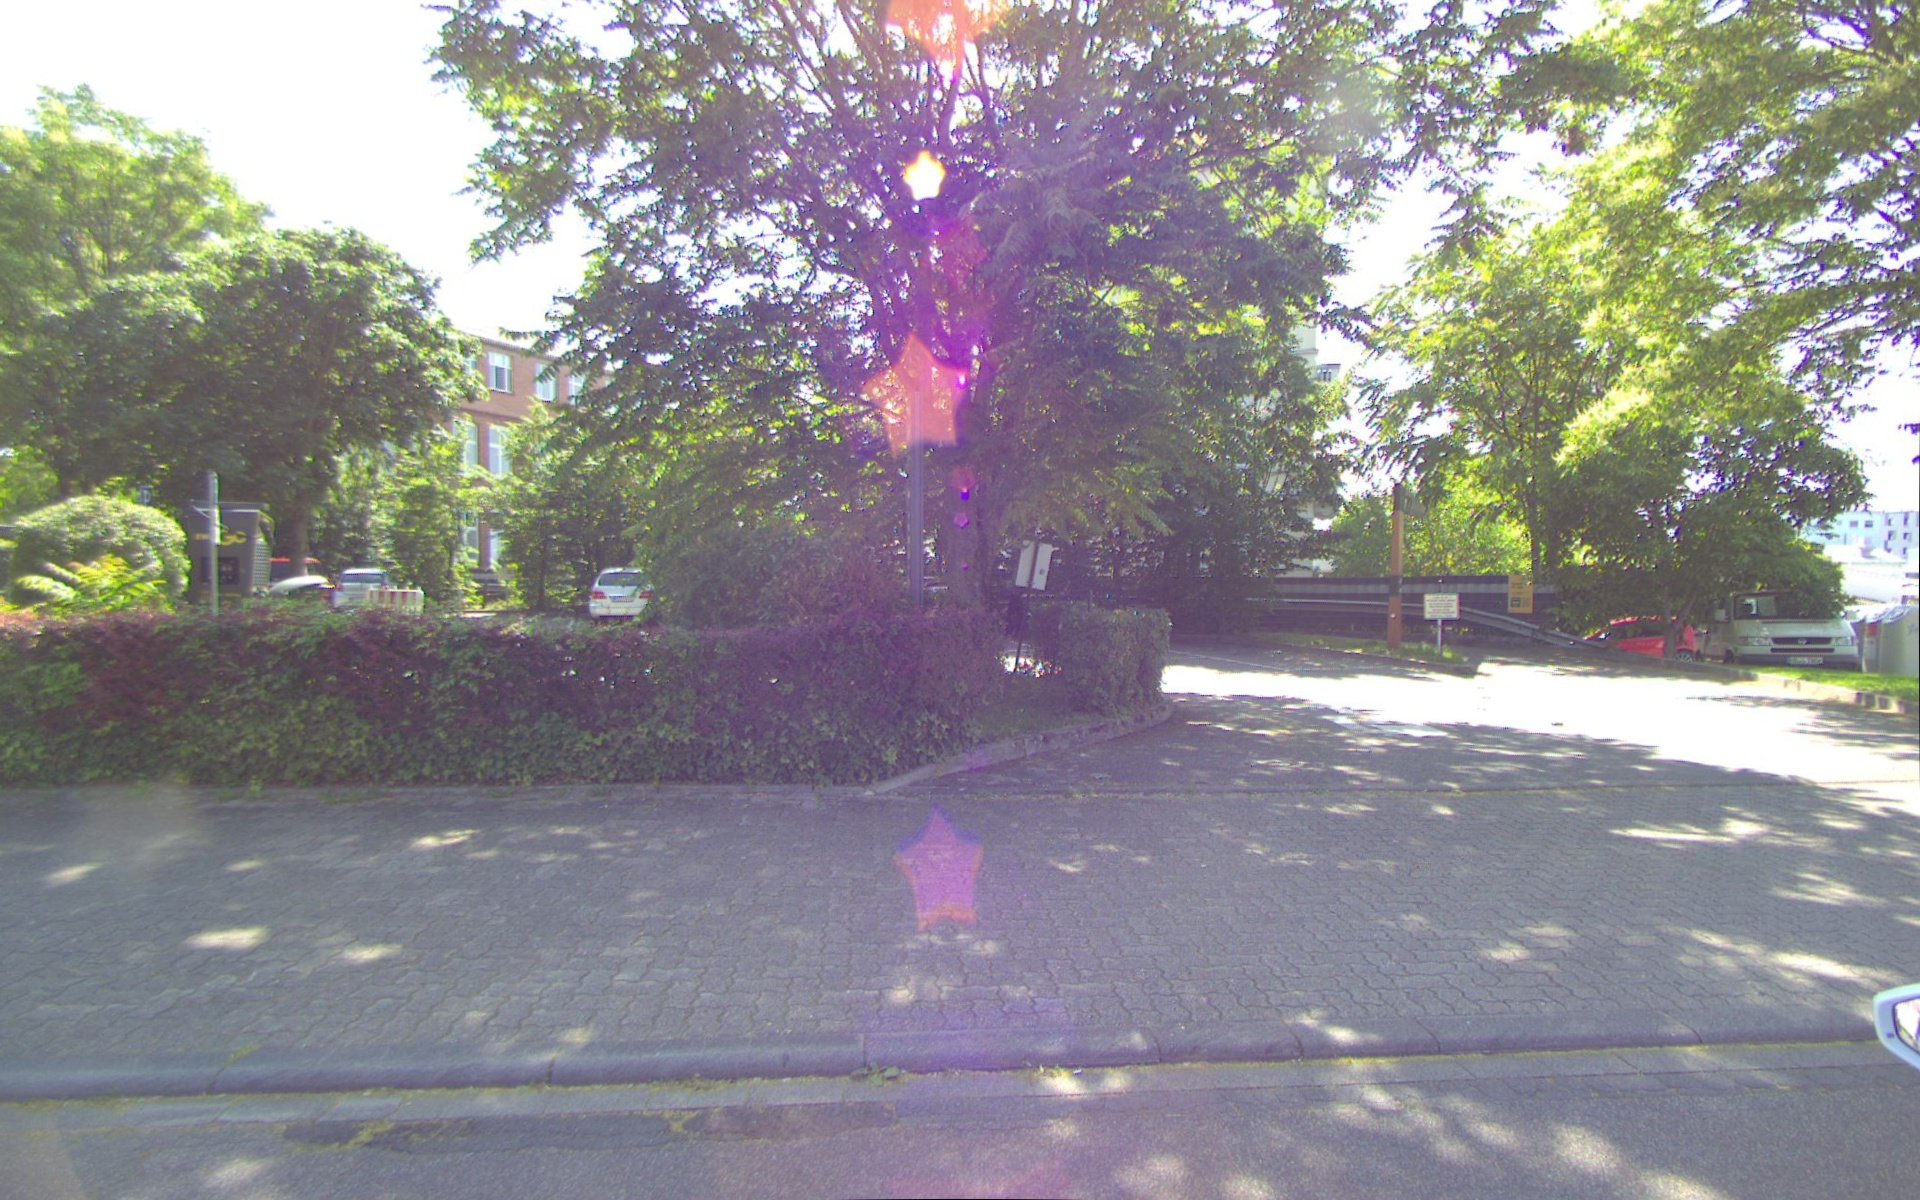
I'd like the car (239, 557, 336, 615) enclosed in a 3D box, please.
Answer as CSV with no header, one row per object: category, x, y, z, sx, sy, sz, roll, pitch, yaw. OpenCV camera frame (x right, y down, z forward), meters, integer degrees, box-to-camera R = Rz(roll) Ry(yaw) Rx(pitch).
car,-22.314,-0.526,33.488,1.747,1.758,3.980,-2,3,-21

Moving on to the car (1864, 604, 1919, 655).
car,35.496,1.103,36.099,3.920,1.729,2.000,2,2,19

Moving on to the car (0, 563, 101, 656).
car,-17.273,0.139,16.634,4.285,1.472,1.860,1,-1,-7

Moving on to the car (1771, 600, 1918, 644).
car,40.075,0.963,45.621,4.560,1.749,2.001,2,1,12

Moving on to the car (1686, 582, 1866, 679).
car,16.079,0.478,20.098,1.923,1.604,5.021,2,2,30

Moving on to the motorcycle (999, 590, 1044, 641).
motorcycle,1.469,0.351,24.128,0.467,1.156,1.597,-1,2,-21

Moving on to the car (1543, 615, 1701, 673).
car,17.984,1.172,27.446,3.348,1.397,1.486,0,3,21

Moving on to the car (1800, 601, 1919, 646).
car,39.462,1.000,43.272,4.560,1.749,2.001,2,1,12

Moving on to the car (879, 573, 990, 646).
car,-0.698,0.148,23.801,1.634,1.490,3.888,-1,3,-18

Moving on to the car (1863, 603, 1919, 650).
car,37.700,1.061,38.596,3.919,1.749,2.001,2,1,11

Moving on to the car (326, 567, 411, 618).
car,-19.007,-0.306,32.455,1.748,1.496,3.978,-1,3,-22

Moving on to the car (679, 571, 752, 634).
car,-6.566,-0.007,27.154,1.743,1.490,3.989,-1,3,-13

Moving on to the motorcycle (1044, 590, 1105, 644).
motorcycle,2.640,0.370,23.361,0.563,1.185,1.592,-1,2,-31

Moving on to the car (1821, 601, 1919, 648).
car,38.336,1.025,40.834,4.560,1.749,2.001,2,1,12

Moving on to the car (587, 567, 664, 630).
car,-9.326,-0.099,28.226,1.744,1.593,3.987,0,2,-14
